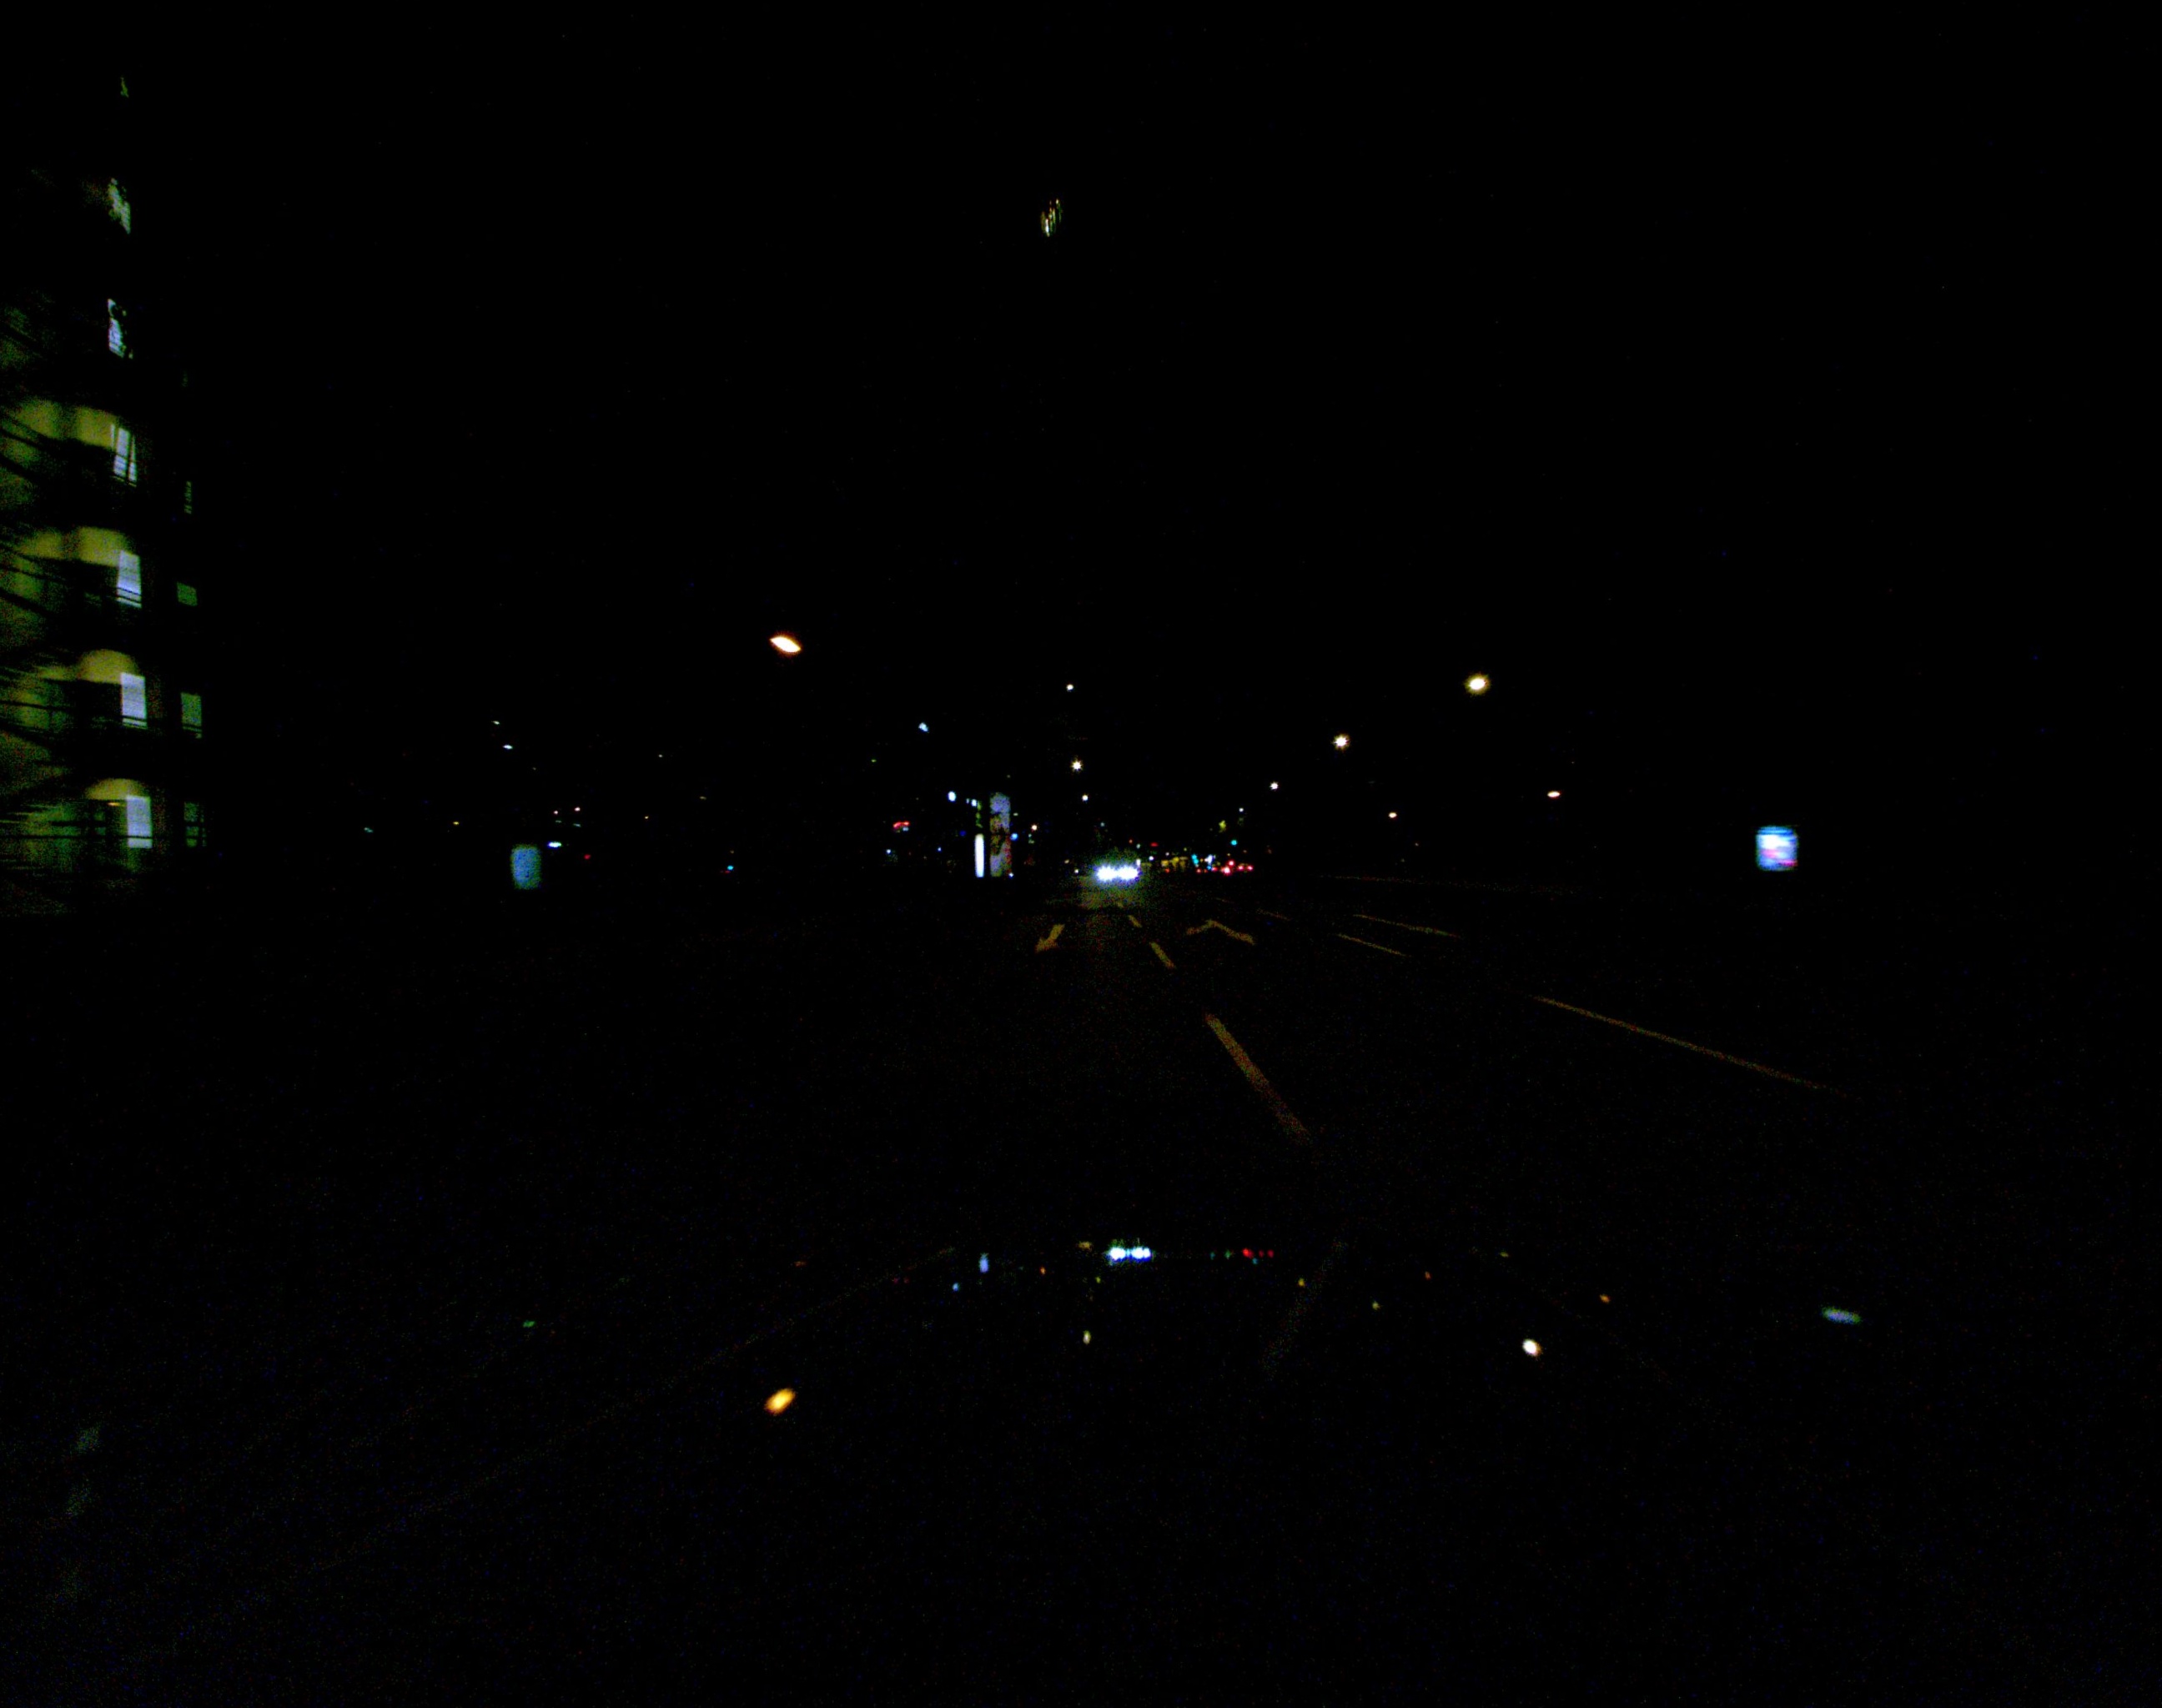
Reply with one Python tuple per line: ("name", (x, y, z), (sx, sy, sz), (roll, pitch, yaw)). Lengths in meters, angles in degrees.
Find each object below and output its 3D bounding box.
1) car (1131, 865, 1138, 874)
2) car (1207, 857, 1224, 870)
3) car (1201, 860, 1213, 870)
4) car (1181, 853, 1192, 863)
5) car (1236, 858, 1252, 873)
("car", (13.894, 3.969, 197.153), (1.794, 2.002, 4.001), (-2, 1, 6))
("car", (20.317, 1.433, 115.088), (1.795, 1.728, 3.999), (-2, 1, -1))
("car", (23.333, 1.999, 141.256), (1.794, 1.779, 4.001), (-2, 1, 5))
("car", (21.831, 0.877, 157.236), (1.794, 1.896, 4.001), (-2, 1, 5))
("car", (23.057, 1.602, 107.598), (2.059, 2.002, 4.002), (-2, 1, 9))
